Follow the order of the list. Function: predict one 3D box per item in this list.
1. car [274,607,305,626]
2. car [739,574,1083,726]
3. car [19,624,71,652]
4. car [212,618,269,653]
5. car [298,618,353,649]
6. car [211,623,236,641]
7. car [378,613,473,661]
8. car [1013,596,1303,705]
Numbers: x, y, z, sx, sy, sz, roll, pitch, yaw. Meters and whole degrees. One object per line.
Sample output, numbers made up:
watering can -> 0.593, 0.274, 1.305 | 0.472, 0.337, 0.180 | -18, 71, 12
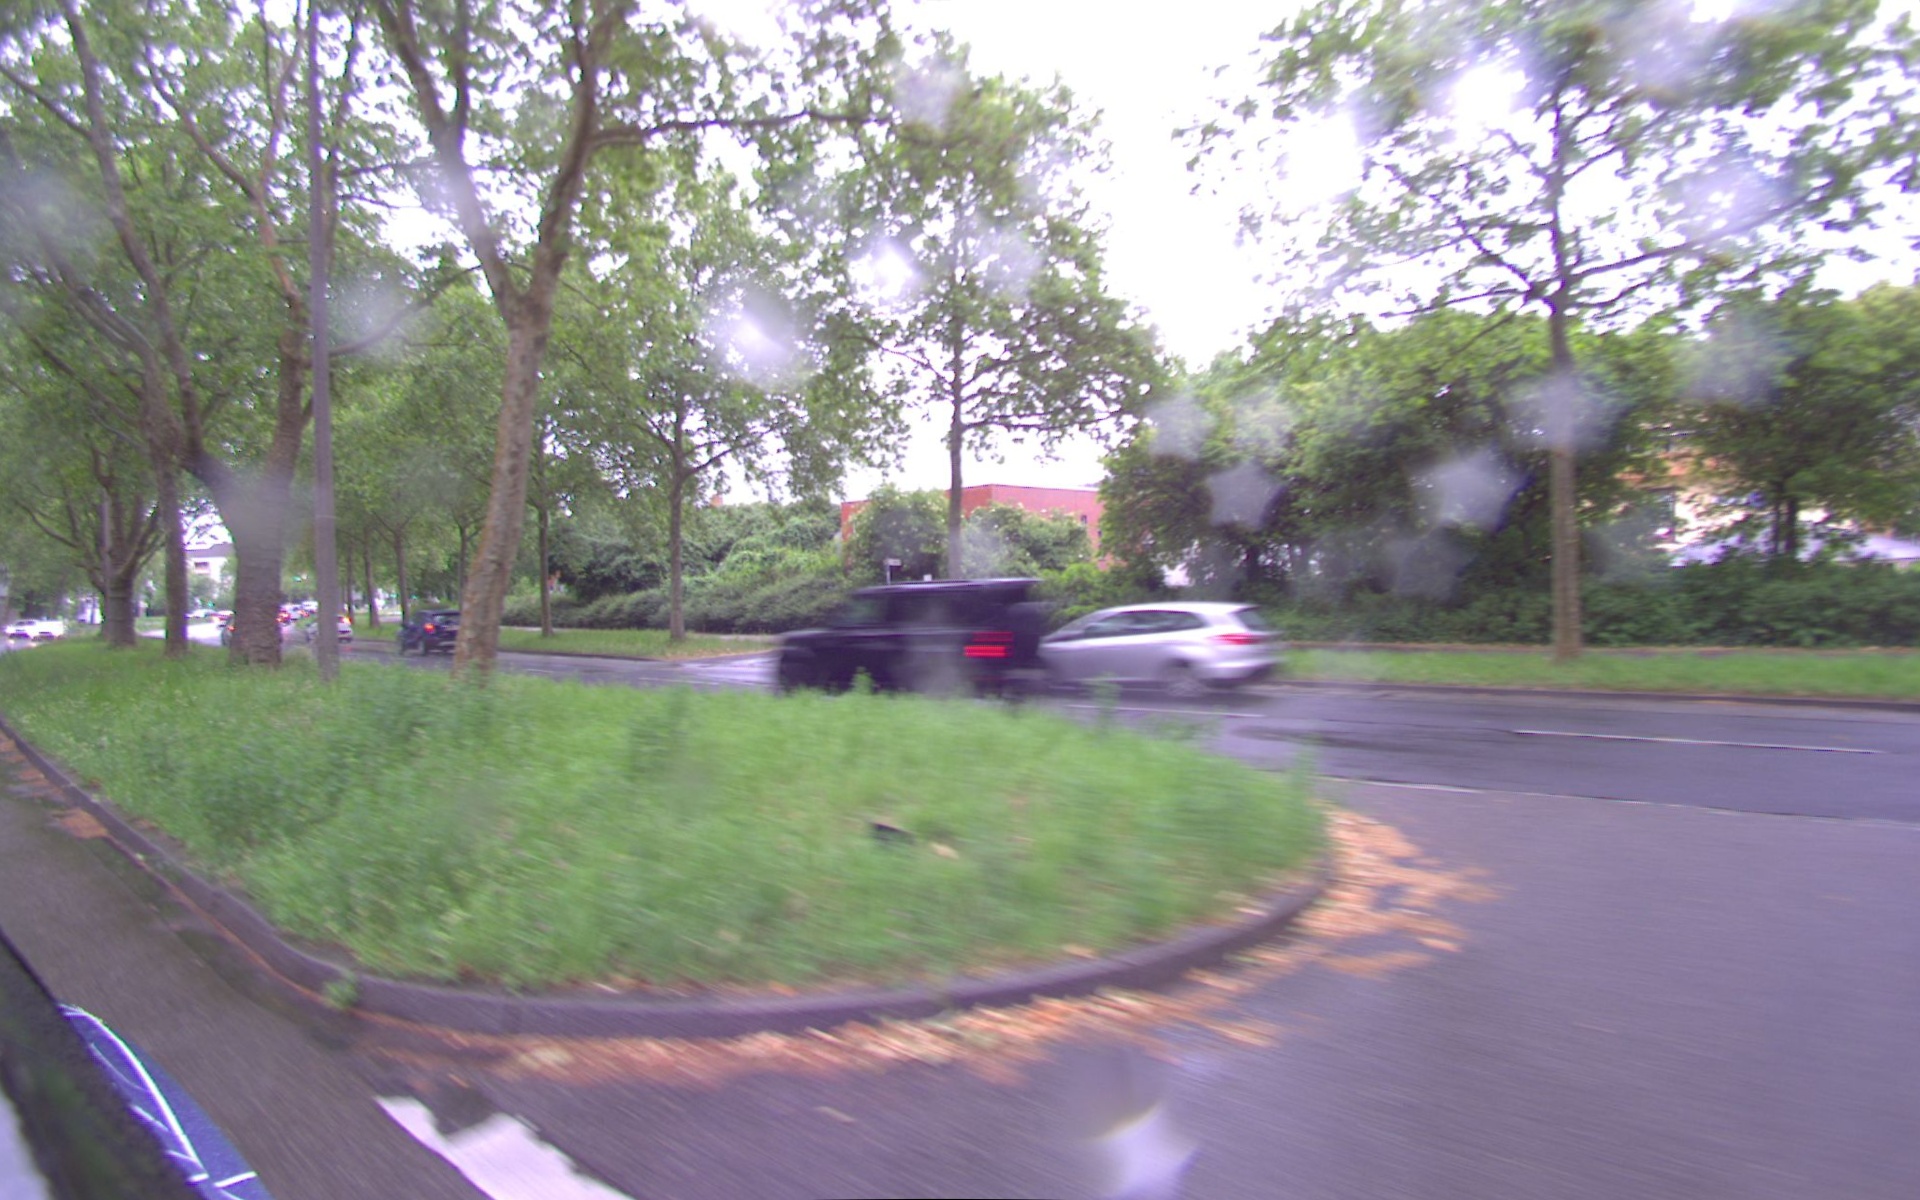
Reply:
car -> -79.762, 1.933, 120.455 | 2.001, 2.243, 5.452 | -2, 0, -23
car -> -0.871, 0.647, 14.734 | 5.114, 1.855, 1.726 | -2, 0, 39
car -> -62.348, 2.572, 69.038 | 1.967, 1.641, 4.534 | -3, 1, -34
car -> -35.993, 1.725, 50.580 | 1.723, 1.603, 4.335 | -2, 0, -43
car -> -33.381, 1.751, 53.220 | 1.722, 1.487, 4.087 | -2, 0, -43
car -> -67.193, 2.888, 92.275 | 1.721, 1.487, 4.419 | -2, 0, -37
car -> -19.811, 1.348, 37.447 | 4.208, 1.603, 1.725 | -1, 0, 42
car -> 3.088, 0.749, 16.237 | 4.229, 1.487, 1.727 | -2, 0, 38
